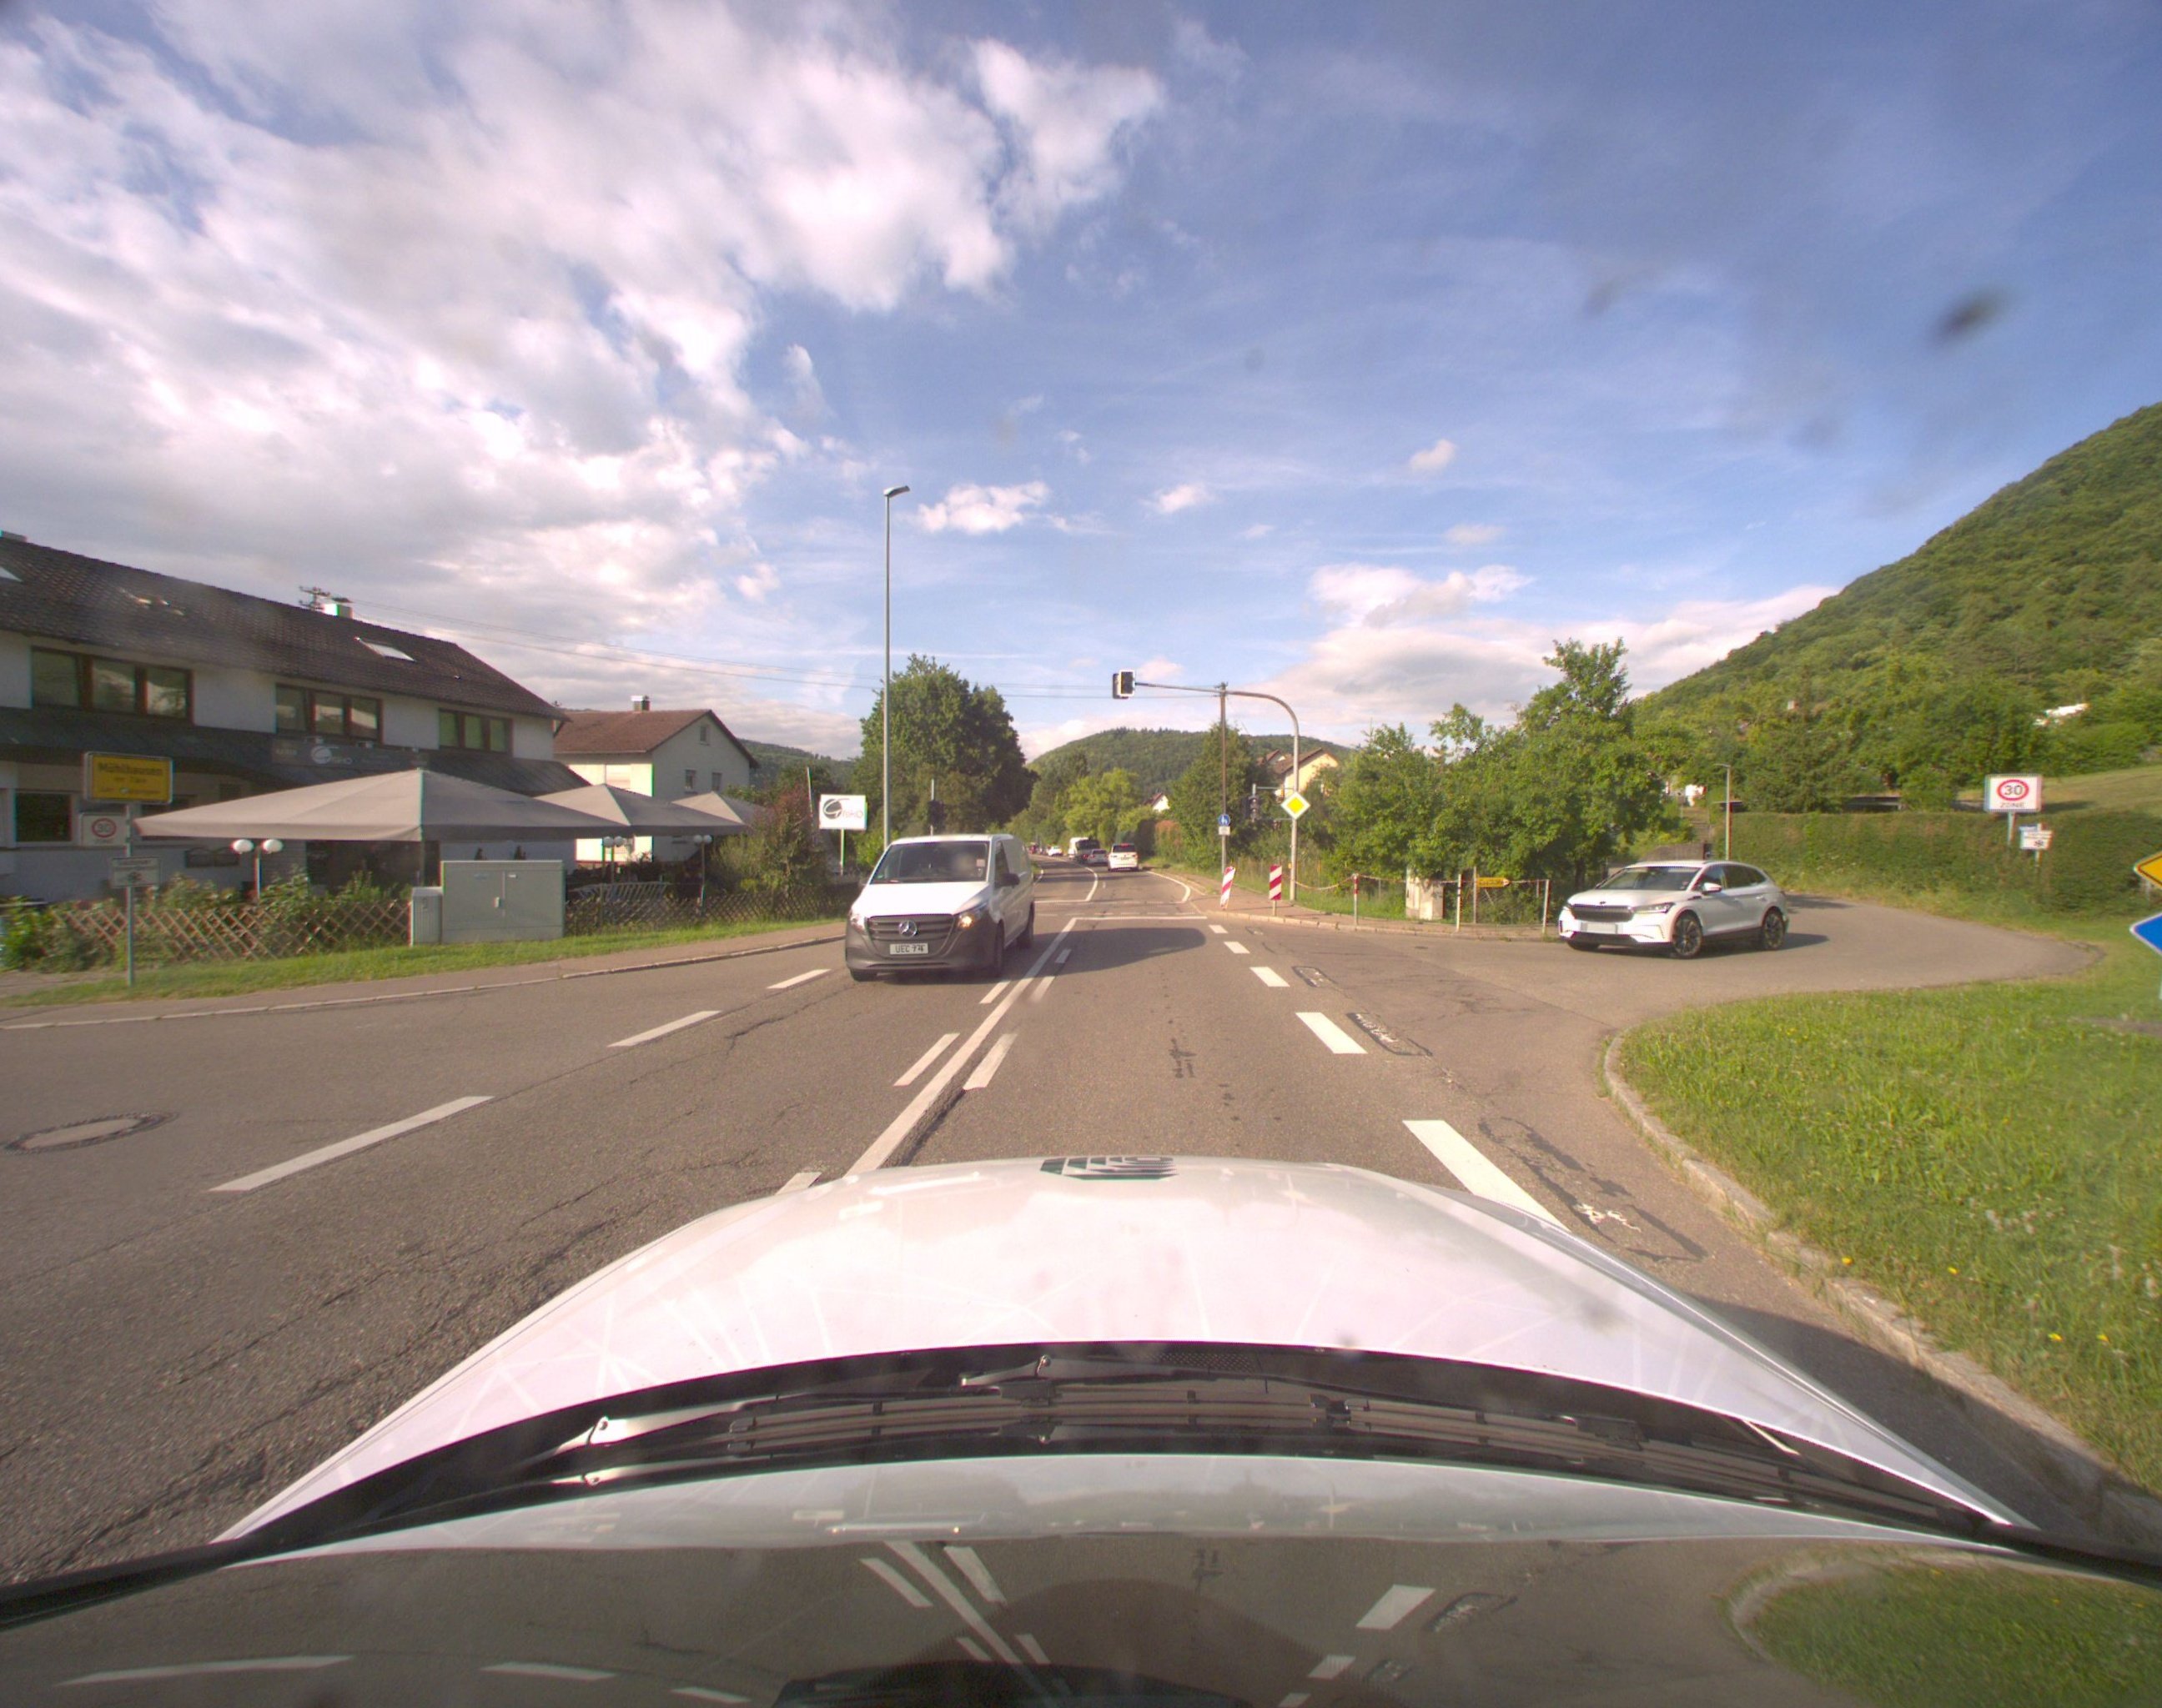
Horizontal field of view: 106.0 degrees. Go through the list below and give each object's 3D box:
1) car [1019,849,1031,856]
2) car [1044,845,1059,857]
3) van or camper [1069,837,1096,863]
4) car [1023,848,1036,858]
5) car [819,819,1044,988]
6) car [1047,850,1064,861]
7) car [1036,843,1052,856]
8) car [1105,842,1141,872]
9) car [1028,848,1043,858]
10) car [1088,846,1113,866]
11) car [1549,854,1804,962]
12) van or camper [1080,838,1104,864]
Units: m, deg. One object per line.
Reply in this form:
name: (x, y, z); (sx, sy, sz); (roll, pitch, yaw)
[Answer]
car: (-10.977, -0.277, 158.498); (1.942, 1.424, 3.987); (-1, 1, -10)
car: (-4.565, -0.514, 125.226); (1.796, 1.793, 3.988); (-1, 1, -9)
van or camper: (0.116, -0.497, 94.946); (2.413, 2.904, 6.117); (-1, 1, -7)
car: (-9.408, -0.200, 149.344); (1.942, 1.684, 3.987); (-2, 0, -10)
car: (-1.869, 0.544, 12.104); (1.985, 1.903, 5.259); (-2, 1, 4)
car: (-3.659, 0.204, 117.919); (1.820, 1.551, 3.986); (-3, 2, -11)
car: (-6.062, -0.769, 132.203); (1.994, 2.013, 3.986); (-1, 1, -10)
car: (2.819, 0.148, 55.721); (1.989, 1.876, 4.867); (1, 1, -2)
car: (-7.874, -0.185, 140.878); (2.041, 1.683, 3.987); (0, 1, -10)
car: (1.670, 0.145, 71.435); (1.987, 1.684, 3.999); (-1, 1, -1)
car: (10.479, 0.864, 14.262); (4.584, 1.610, 1.856); (1, 0, -29)
van or camper: (1.025, -0.321, 80.217); (2.173, 2.385, 5.368); (-1, 1, -1)
